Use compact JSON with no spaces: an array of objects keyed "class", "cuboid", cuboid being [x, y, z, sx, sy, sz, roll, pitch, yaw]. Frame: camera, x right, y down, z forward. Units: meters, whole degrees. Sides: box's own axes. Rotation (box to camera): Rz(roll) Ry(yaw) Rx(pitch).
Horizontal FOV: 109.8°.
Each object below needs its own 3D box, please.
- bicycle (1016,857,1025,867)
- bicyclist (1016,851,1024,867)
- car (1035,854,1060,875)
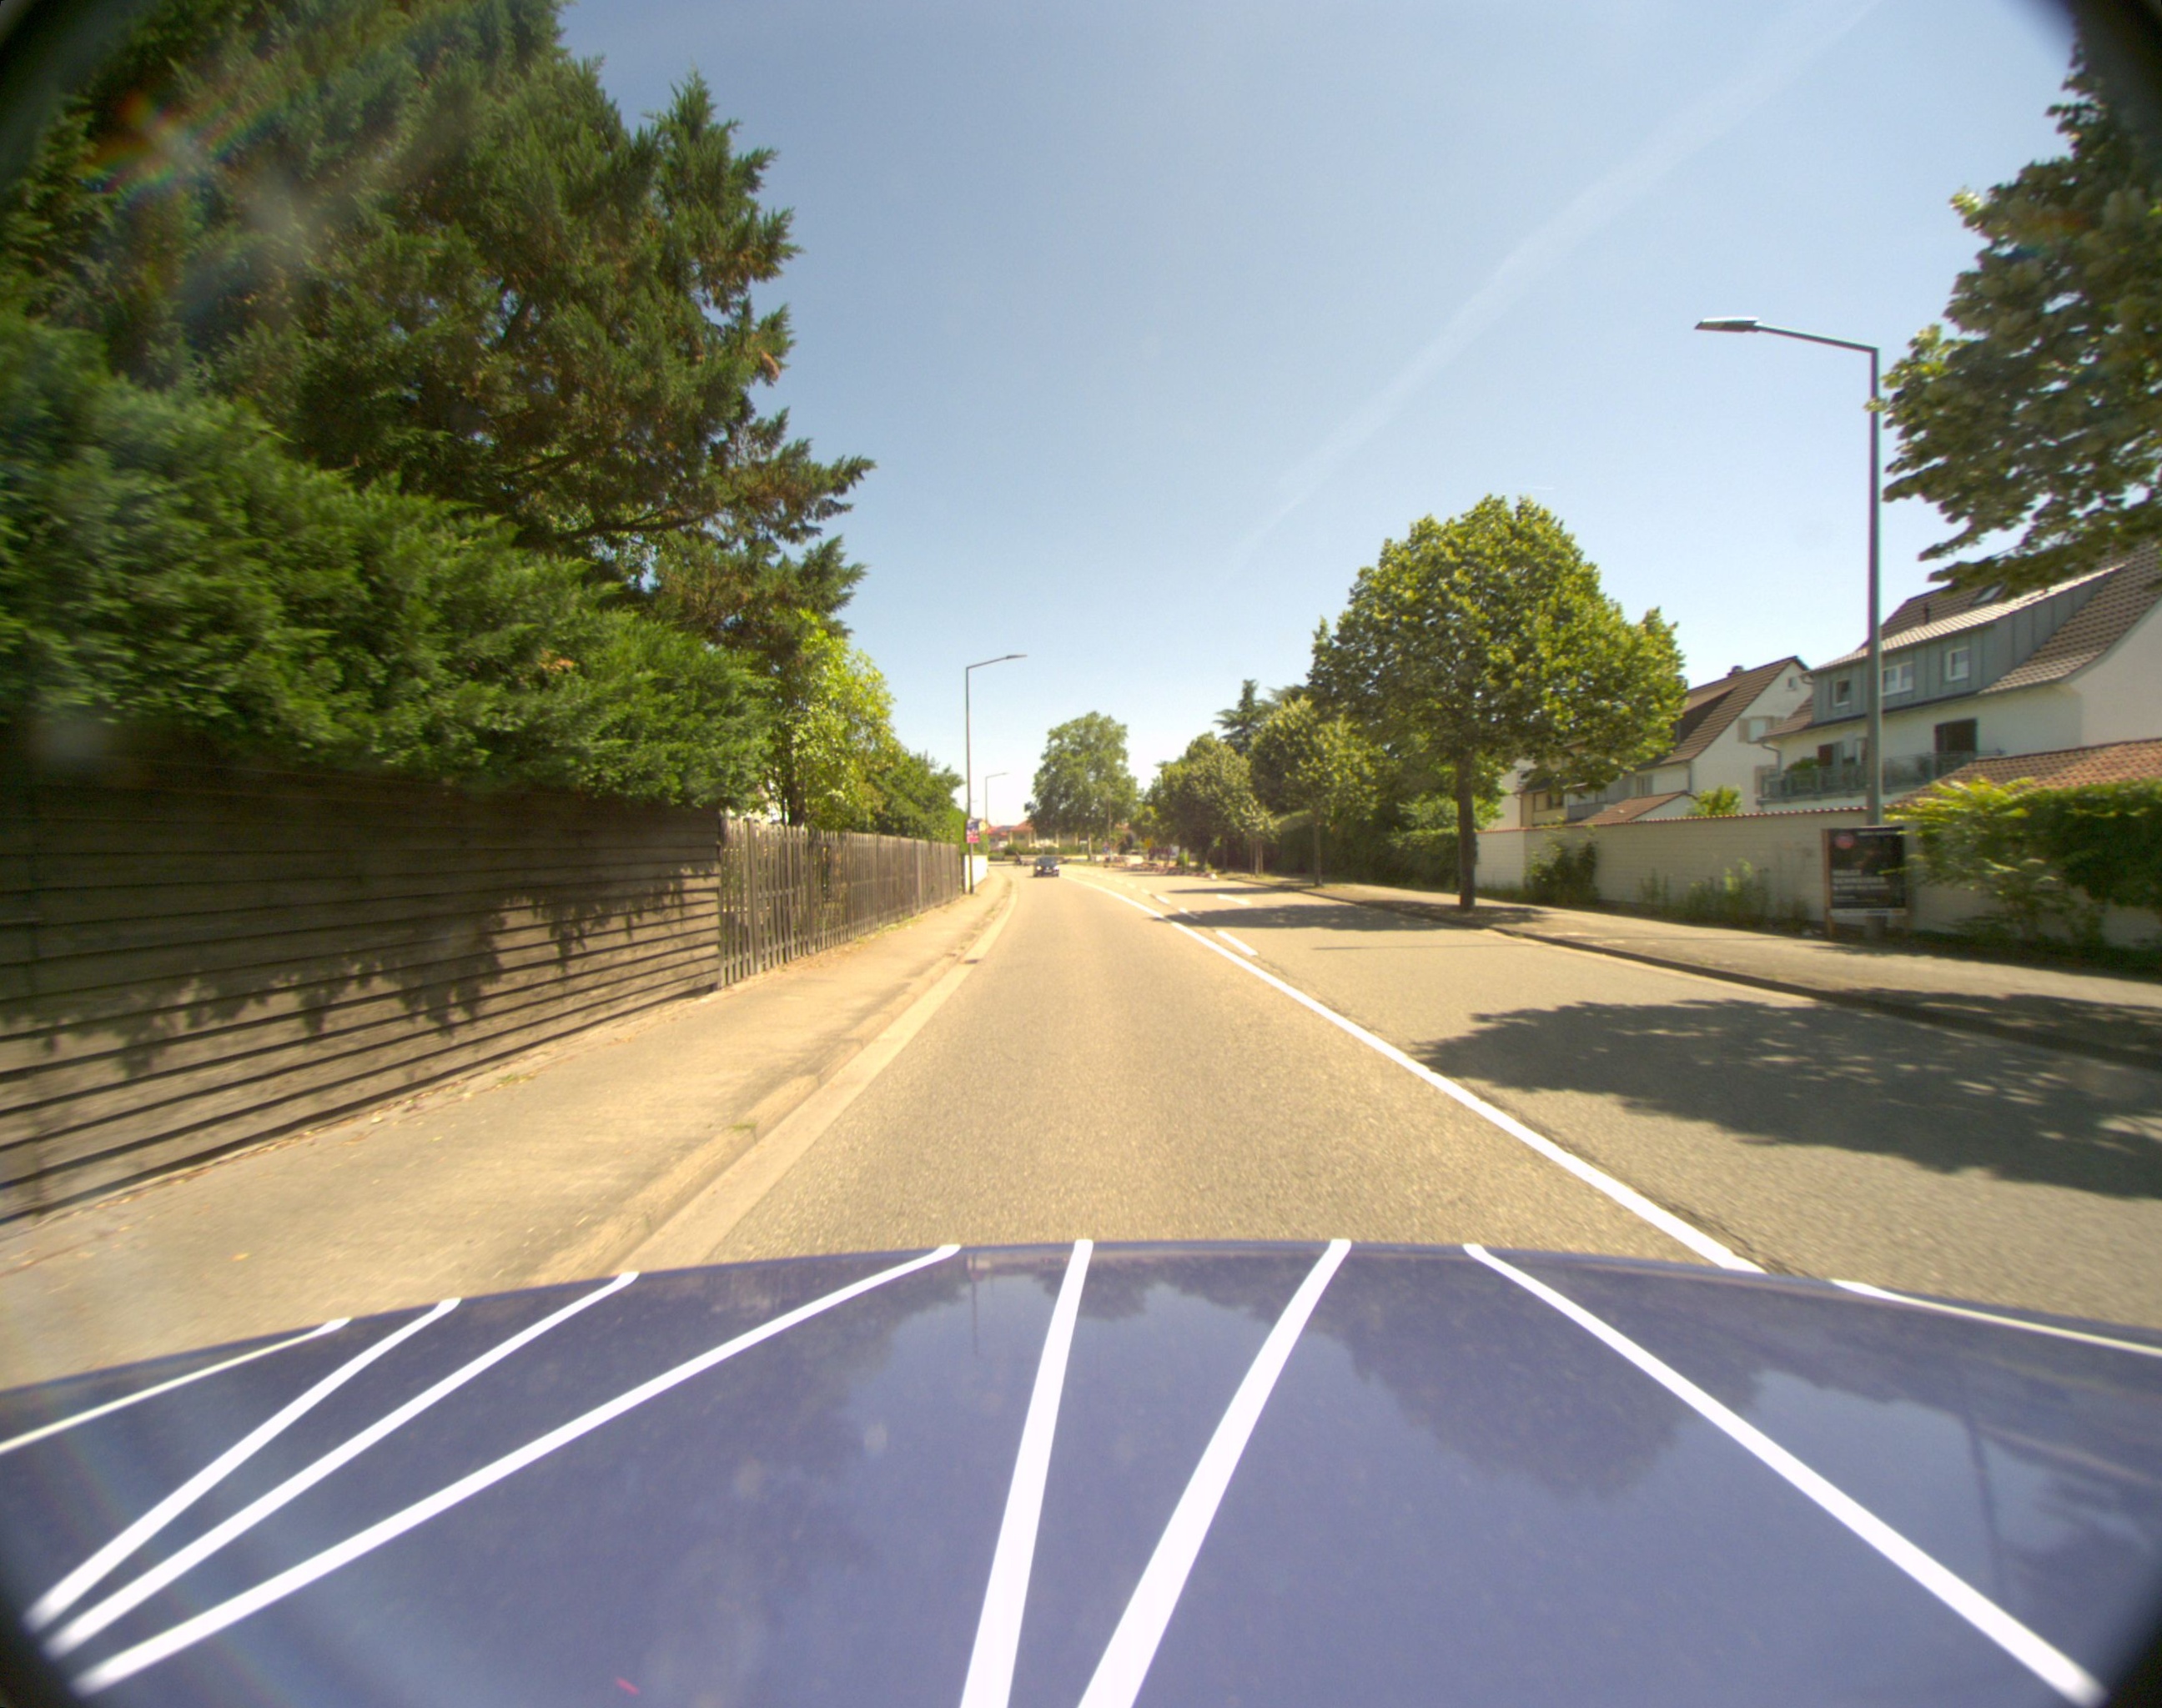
[{"class":"bicycle","cuboid":[-7.444,0.991,93.012,0.853,1.159,1.975,0,1,-11]},{"class":"bicyclist","cuboid":[-7.442,0.628,93.016,0.849,1.855,0.975,-1,1,-11]},{"class":"car","cuboid":[-2.413,0.726,54.301,1.608,1.436,3.907,-1,0,-4]}]
